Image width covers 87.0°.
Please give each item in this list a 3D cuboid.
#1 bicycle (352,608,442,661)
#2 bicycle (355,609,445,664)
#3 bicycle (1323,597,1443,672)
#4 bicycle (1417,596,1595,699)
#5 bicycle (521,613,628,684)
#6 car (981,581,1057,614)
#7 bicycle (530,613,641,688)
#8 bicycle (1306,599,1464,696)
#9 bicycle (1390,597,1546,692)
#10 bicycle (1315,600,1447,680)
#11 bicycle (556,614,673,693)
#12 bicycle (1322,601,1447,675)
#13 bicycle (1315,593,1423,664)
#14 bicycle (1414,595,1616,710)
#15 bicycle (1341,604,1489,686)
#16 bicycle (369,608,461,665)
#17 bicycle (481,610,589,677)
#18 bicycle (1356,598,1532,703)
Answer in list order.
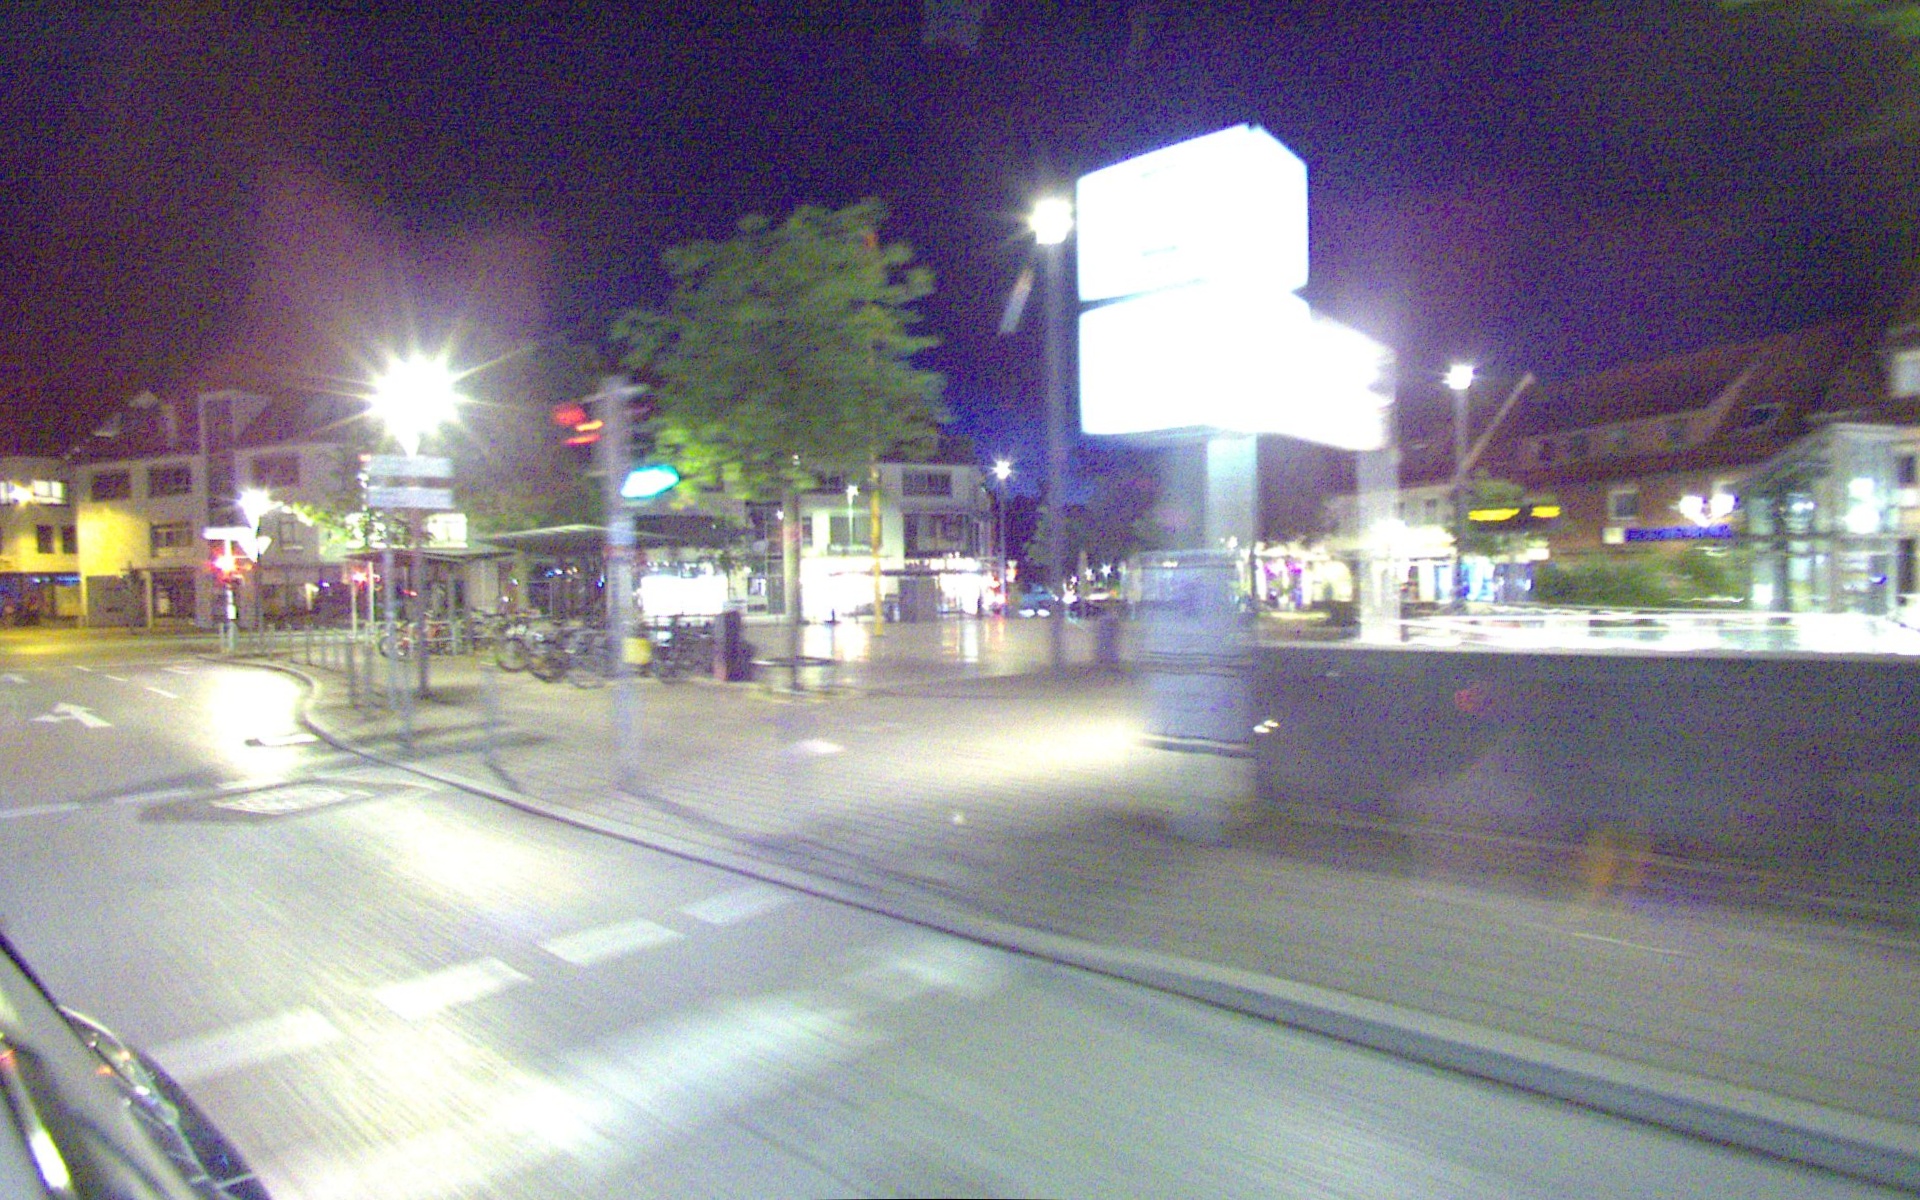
[{"bbox_3d":[-14.285,0.849,25.691,1.812,1.166,0.788,-5,4,-41],"label":"bicycle"},{"bbox_3d":[-13.470,0.856,24.377,1.714,1.166,0.788,-5,4,-41],"label":"bicycle"},{"bbox_3d":[6.855,0.559,16.418,1.738,1.174,0.603,-2,-1,26],"label":"bicycle"},{"bbox_3d":[6.496,0.565,12.116,1.729,1.174,0.607,-2,-1,12],"label":"bicycle"},{"bbox_3d":[-6.653,0.807,17.523,0.670,1.114,1.598,0,2,43],"label":"bicycle"},{"bbox_3d":[3.720,-0.164,63.313,4.343,1.951,1.966,-1,-1,-32],"label":"car"},{"bbox_3d":[-6.226,0.809,16.878,0.670,1.114,1.598,0,2,43],"label":"bicycle"},{"bbox_3d":[5.409,0.608,12.971,1.729,1.174,0.607,-2,-1,12],"label":"bicycle"},{"bbox_3d":[6.554,0.572,13.126,1.738,1.174,0.603,-2,-1,27],"label":"bicycle"},{"bbox_3d":[6.211,0.597,14.963,1.738,1.133,0.603,-2,-1,26],"label":"bicycle"},{"bbox_3d":[-5.390,0.809,15.860,0.670,1.114,1.598,1,2,43],"label":"bicycle"},{"bbox_3d":[6.622,0.599,15.810,1.738,1.109,0.603,-2,-1,26],"label":"bicycle"},{"bbox_3d":[7.382,0.517,18.276,1.738,1.228,0.603,-2,-1,26],"label":"bicycle"},{"bbox_3d":[5.983,0.566,11.007,1.729,1.171,0.758,-2,-1,12],"label":"bicycle"},{"bbox_3d":[6.278,0.622,14.040,1.727,1.078,0.607,-2,-1,8],"label":"bicycle"},{"bbox_3d":[-12.799,0.835,23.798,1.714,1.175,0.788,-5,2,-41],"label":"bicycle"},{"bbox_3d":[-8.002,0.795,19.107,0.670,1.173,1.750,-1,0,43],"label":"bicycle"},{"bbox_3d":[5.608,0.591,11.804,1.729,1.163,0.543,-2,-1,12],"label":"bicycle"}]
